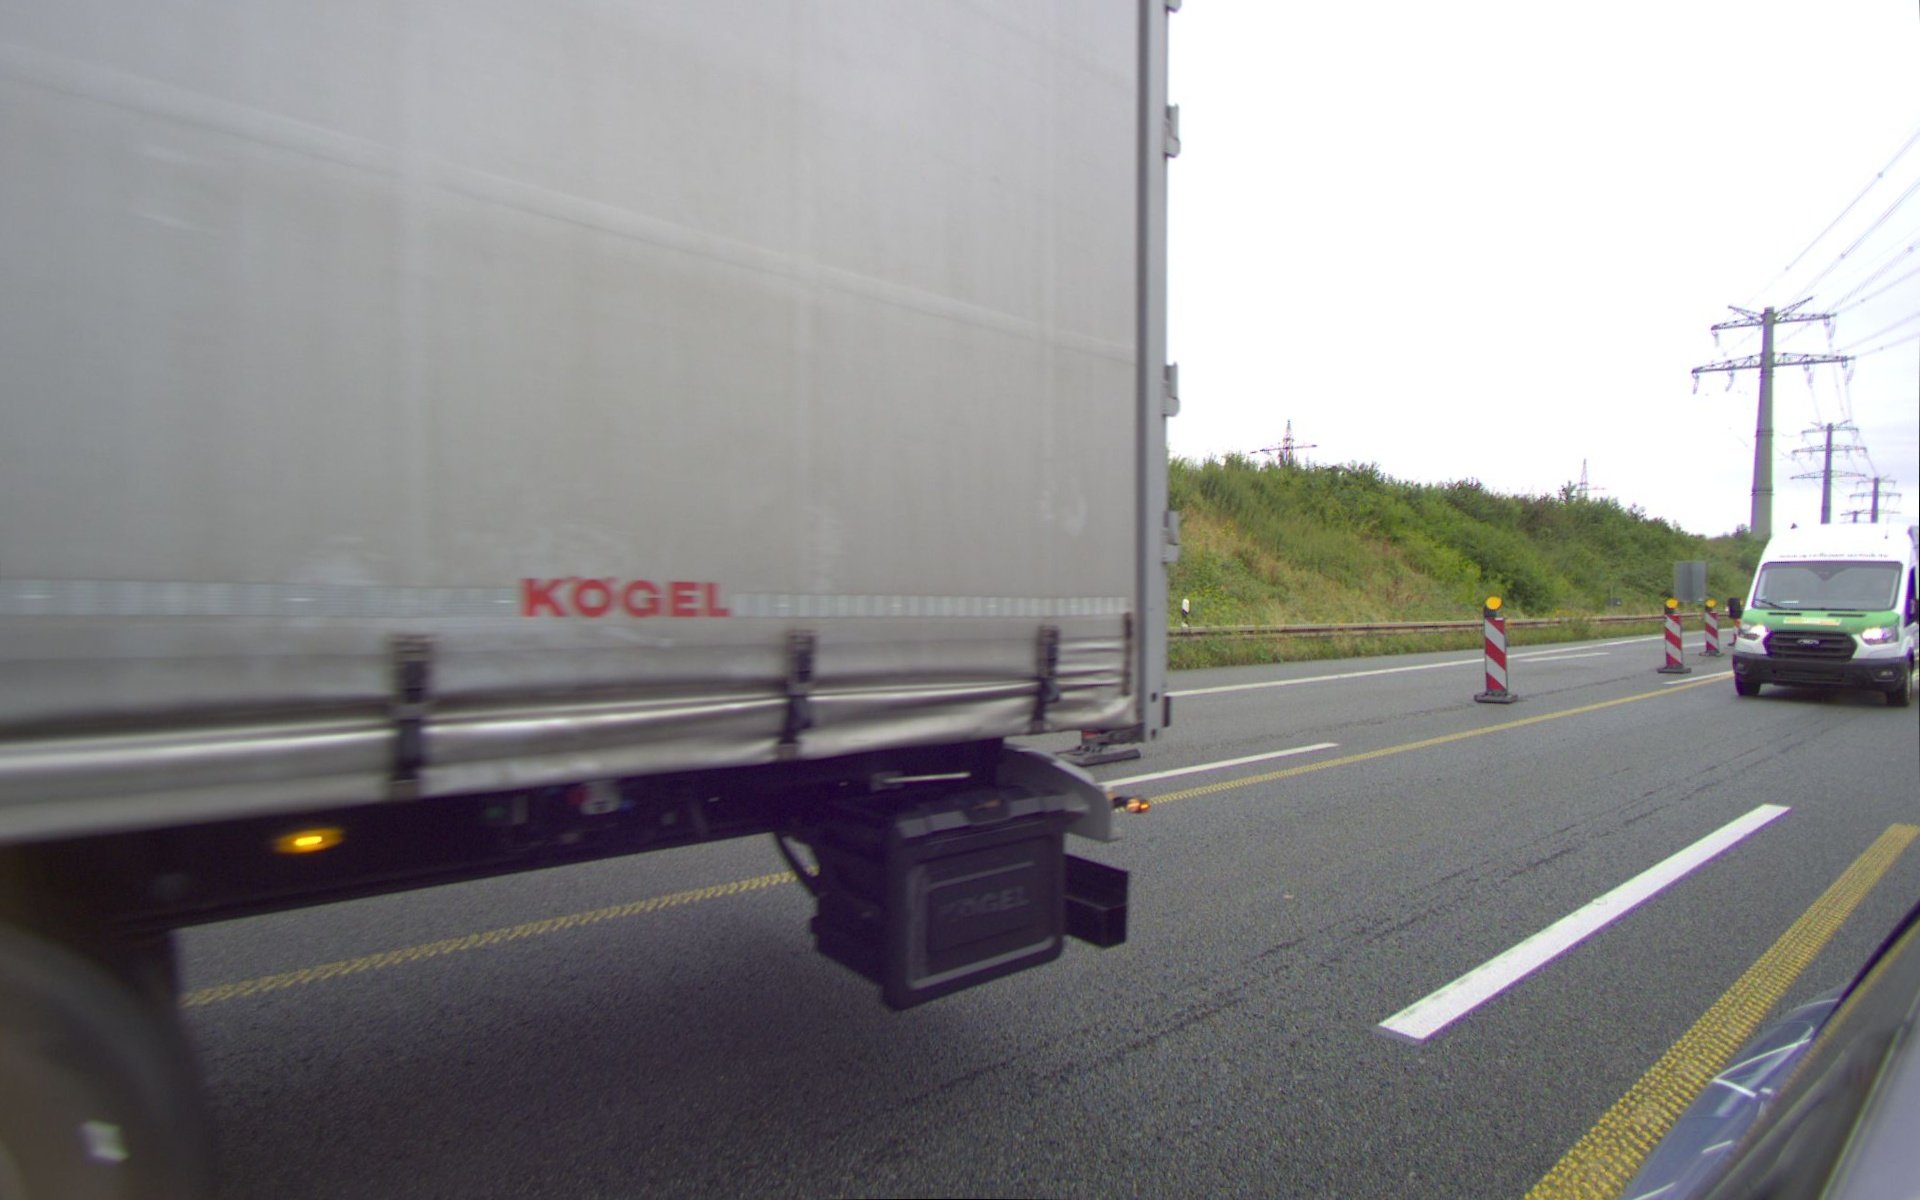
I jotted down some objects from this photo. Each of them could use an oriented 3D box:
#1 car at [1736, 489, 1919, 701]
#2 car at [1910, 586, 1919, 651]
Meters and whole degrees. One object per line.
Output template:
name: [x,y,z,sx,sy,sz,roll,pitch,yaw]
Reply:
car: [14.224,-0.095,16.055,5.656,2.817,1.997,0,1,-42]
car: [26.649,0.481,26.731,4.203,1.679,1.688,0,1,-39]
